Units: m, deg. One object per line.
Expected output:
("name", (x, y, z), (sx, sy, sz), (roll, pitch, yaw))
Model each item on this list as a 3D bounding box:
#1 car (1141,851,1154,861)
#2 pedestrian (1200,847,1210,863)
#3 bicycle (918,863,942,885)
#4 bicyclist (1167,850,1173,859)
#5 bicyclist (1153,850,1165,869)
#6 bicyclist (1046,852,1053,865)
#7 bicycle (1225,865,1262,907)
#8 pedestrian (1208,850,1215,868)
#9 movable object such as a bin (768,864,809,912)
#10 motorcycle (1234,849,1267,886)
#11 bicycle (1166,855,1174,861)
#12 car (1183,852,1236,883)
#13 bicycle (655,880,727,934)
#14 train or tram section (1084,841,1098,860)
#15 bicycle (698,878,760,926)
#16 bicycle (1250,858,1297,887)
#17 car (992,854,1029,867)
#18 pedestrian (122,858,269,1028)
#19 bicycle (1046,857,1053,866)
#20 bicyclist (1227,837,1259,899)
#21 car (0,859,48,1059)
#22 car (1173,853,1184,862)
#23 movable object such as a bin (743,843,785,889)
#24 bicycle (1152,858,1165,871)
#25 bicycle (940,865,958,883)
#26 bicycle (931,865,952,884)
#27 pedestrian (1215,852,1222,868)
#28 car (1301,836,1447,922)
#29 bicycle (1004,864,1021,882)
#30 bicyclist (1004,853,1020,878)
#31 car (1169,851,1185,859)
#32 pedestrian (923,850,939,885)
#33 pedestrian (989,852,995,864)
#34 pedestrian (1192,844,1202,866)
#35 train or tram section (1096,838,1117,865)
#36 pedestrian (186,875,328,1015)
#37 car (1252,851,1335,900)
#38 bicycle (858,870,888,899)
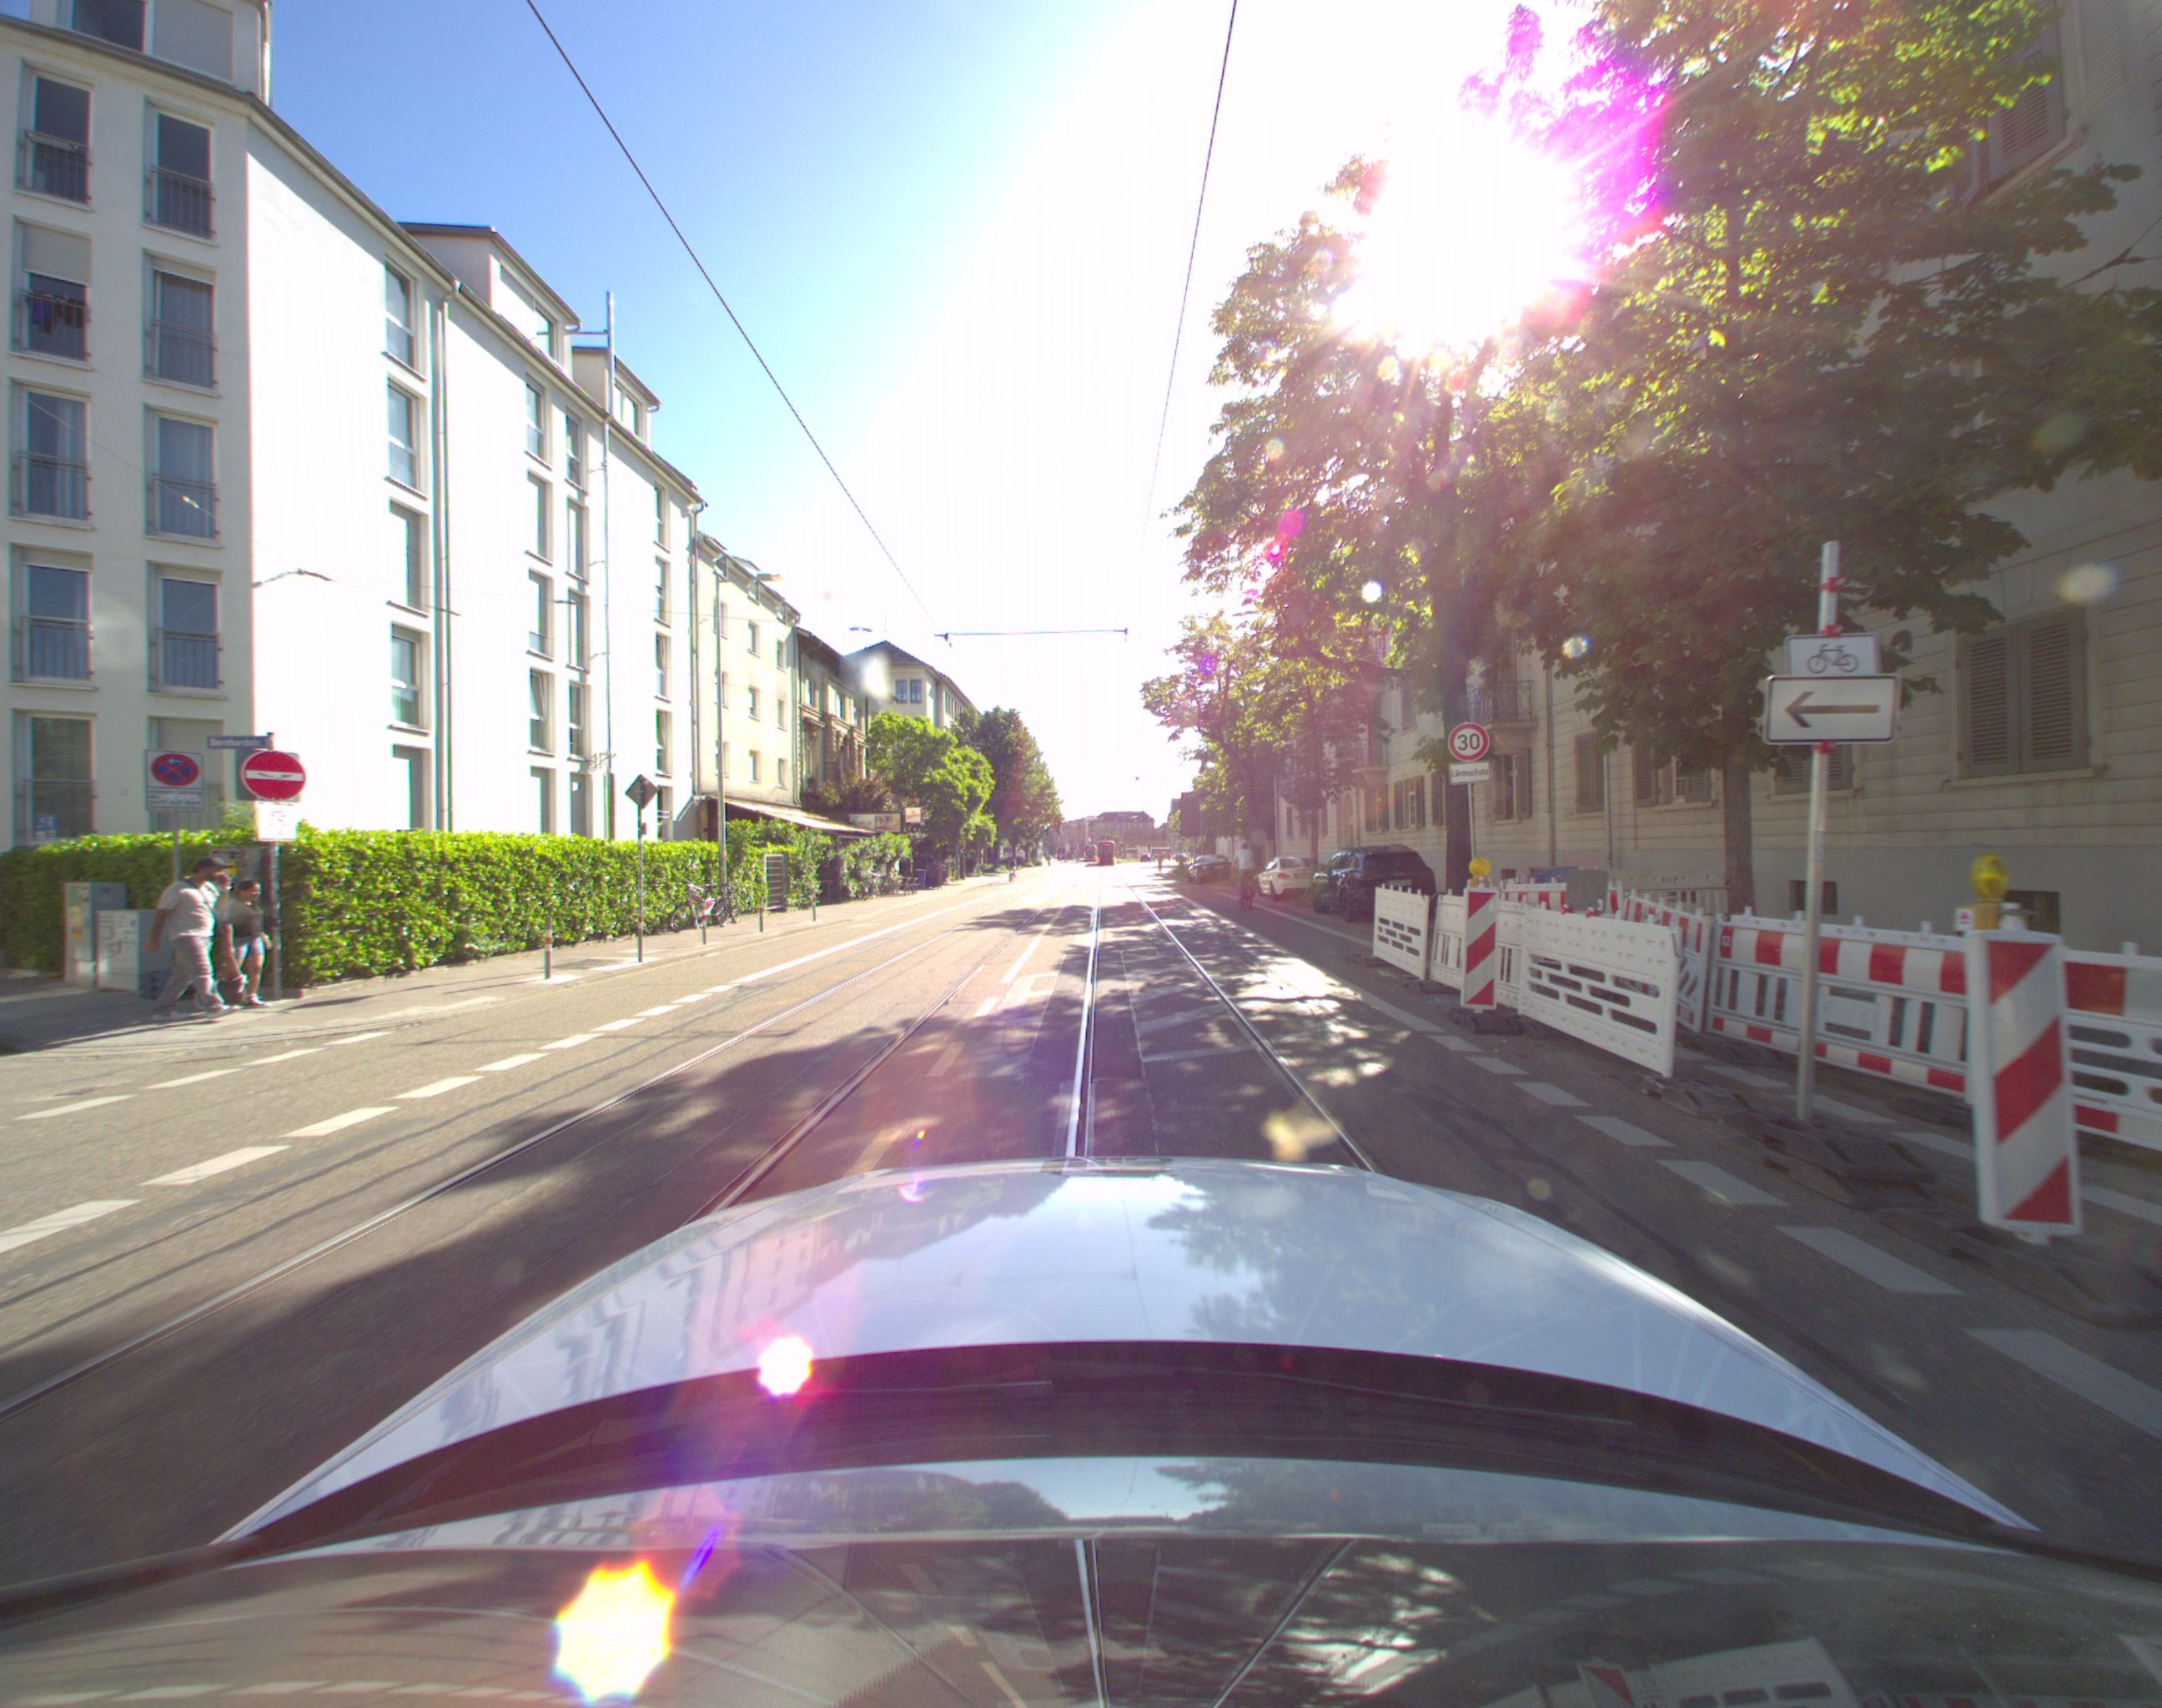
("car", (11.712, 0.340, 143.524), (1.777, 1.604, 3.725), (0, 0, 12))
("pedestrian", (12.562, 0.114, 82.375), (0.853, 1.641, 0.994), (-2, -2, 4))
("bicycle", (-8.326, 1.084, 44.962), (0.642, 1.143, 1.910), (1, 0, 10))
("bicyclist", (15.950, 0.116, 146.273), (0.698, 1.700, 0.993), (1, 1, 26))
("bicyclist", (6.755, 0.477, 70.692), (0.699, 1.675, 1.107), (1, 0, 21))
("bicyclist", (-4.353, 0.614, 112.602), (0.683, 1.644, 1.239), (-3, 0, 6))
("bicycle", (4.513, 0.867, 22.785), (0.735, 1.094, 2.113), (0, 0, 3))
("pedestrian", (12.131, 0.453, 75.515), (0.515, 1.600, 0.765), (-1, 0, 4))
("movable object such as a bin", (-9.425, 1.088, 26.245), (0.804, 1.456, 1.258), (-2, 0, 0))
("motorcycle", (7.274, 0.564, 35.106), (0.910, 1.488, 2.681), (-3, 0, 3))
("bicycle", (15.949, 0.774, 146.300), (0.698, 1.055, 2.327), (1, 1, 26))
("car", (6.732, 0.658, 43.098), (1.817, 1.458, 4.815), (-3, 0, -2))
("bicycle", (-8.795, 1.169, 18.458), (0.659, 1.089, 1.841), (2, -1, 2))
("train or tram section", (2.160, -0.760, 172.303), (2.732, 3.651, 13.787), (-1, 0, 1))
("bicycle", (-8.754, 1.173, 20.331), (0.659, 1.089, 1.841), (2, -1, 2))
("bicycle", (7.387, 0.714, 31.356), (1.613, 1.043, 0.686), (-3, 0, 2))
("car", (-8.560, 0.756, 98.782), (4.008, 1.550, 1.861), (0, 0, -26))
("pedestrian", (-9.468, 0.907, 8.727), (0.799, 1.714, 0.760), (1, 0, 15))
("bicycle", (-4.328, 1.052, 112.619), (0.683, 1.124, 1.934), (-3, 0, 6))
("bicyclist", (4.515, 0.381, 22.771), (0.735, 1.686, 0.972), (0, 0, 3))
("car", (-11.874, 1.000, 7.538), (4.005, 1.807, 1.801), (-2, -1, 22))
("car", (17.253, 0.591, 144.270), (1.781, 1.511, 3.717), (0, 0, 4))
("movable object such as a bin", (-10.316, 0.377, 26.542), (0.804, 1.456, 1.258), (-2, 0, 0))
("bicycle", (6.751, 0.893, 70.696), (0.699, 1.104, 1.726), (1, 1, 21))
("bicycle", (-8.032, 1.187, 49.567), (0.587, 1.045, 1.907), (1, 0, 5))
("bicycle", (-8.148, 1.182, 47.546), (0.586, 1.045, 1.910), (0, 0, 10))
("pedestrian", (12.763, 0.549, 75.457), (0.515, 1.404, 0.765), (-1, 0, 4))
("car", (6.554, 0.501, 18.789), (1.803, 1.626, 4.586), (-3, 0, 2))
("bicycle", (-4.464, 1.203, 53.176), (0.742, 1.082, 1.900), (-4, 0, 3))
("bicyclist", (-4.497, 0.751, 53.178), (0.742, 1.599, 1.118), (-4, 0, 3))
("car", (19.607, 0.227, 165.890), (1.685, 1.643, 3.736), (0, 1, 36))
("pedestrian", (-7.973, 0.712, 43.276), (0.570, 1.831, 0.693), (-1, 0, 20))
("pedestrian", (-11.997, 0.549, 109.699), (0.698, 1.635, 0.759), (1, 0, 1))
("pedestrian", (10.236, 0.078, 72.168), (0.681, 1.849, 0.955), (-3, 0, 0))
("train or tram section", (3.566, -0.404, 117.534), (2.732, 3.651, 13.787), (-1, 0, 1))
("pedestrian", (-9.442, 1.002, 9.349), (0.946, 1.478, 0.760), (1, 0, 15))
("car", (6.813, 0.644, 26.538), (1.716, 1.382, 4.359), (-3, 0, 3))
("bicycle", (-8.305, 1.195, 32.529), (0.636, 1.059, 1.744), (1, 0, 3))
